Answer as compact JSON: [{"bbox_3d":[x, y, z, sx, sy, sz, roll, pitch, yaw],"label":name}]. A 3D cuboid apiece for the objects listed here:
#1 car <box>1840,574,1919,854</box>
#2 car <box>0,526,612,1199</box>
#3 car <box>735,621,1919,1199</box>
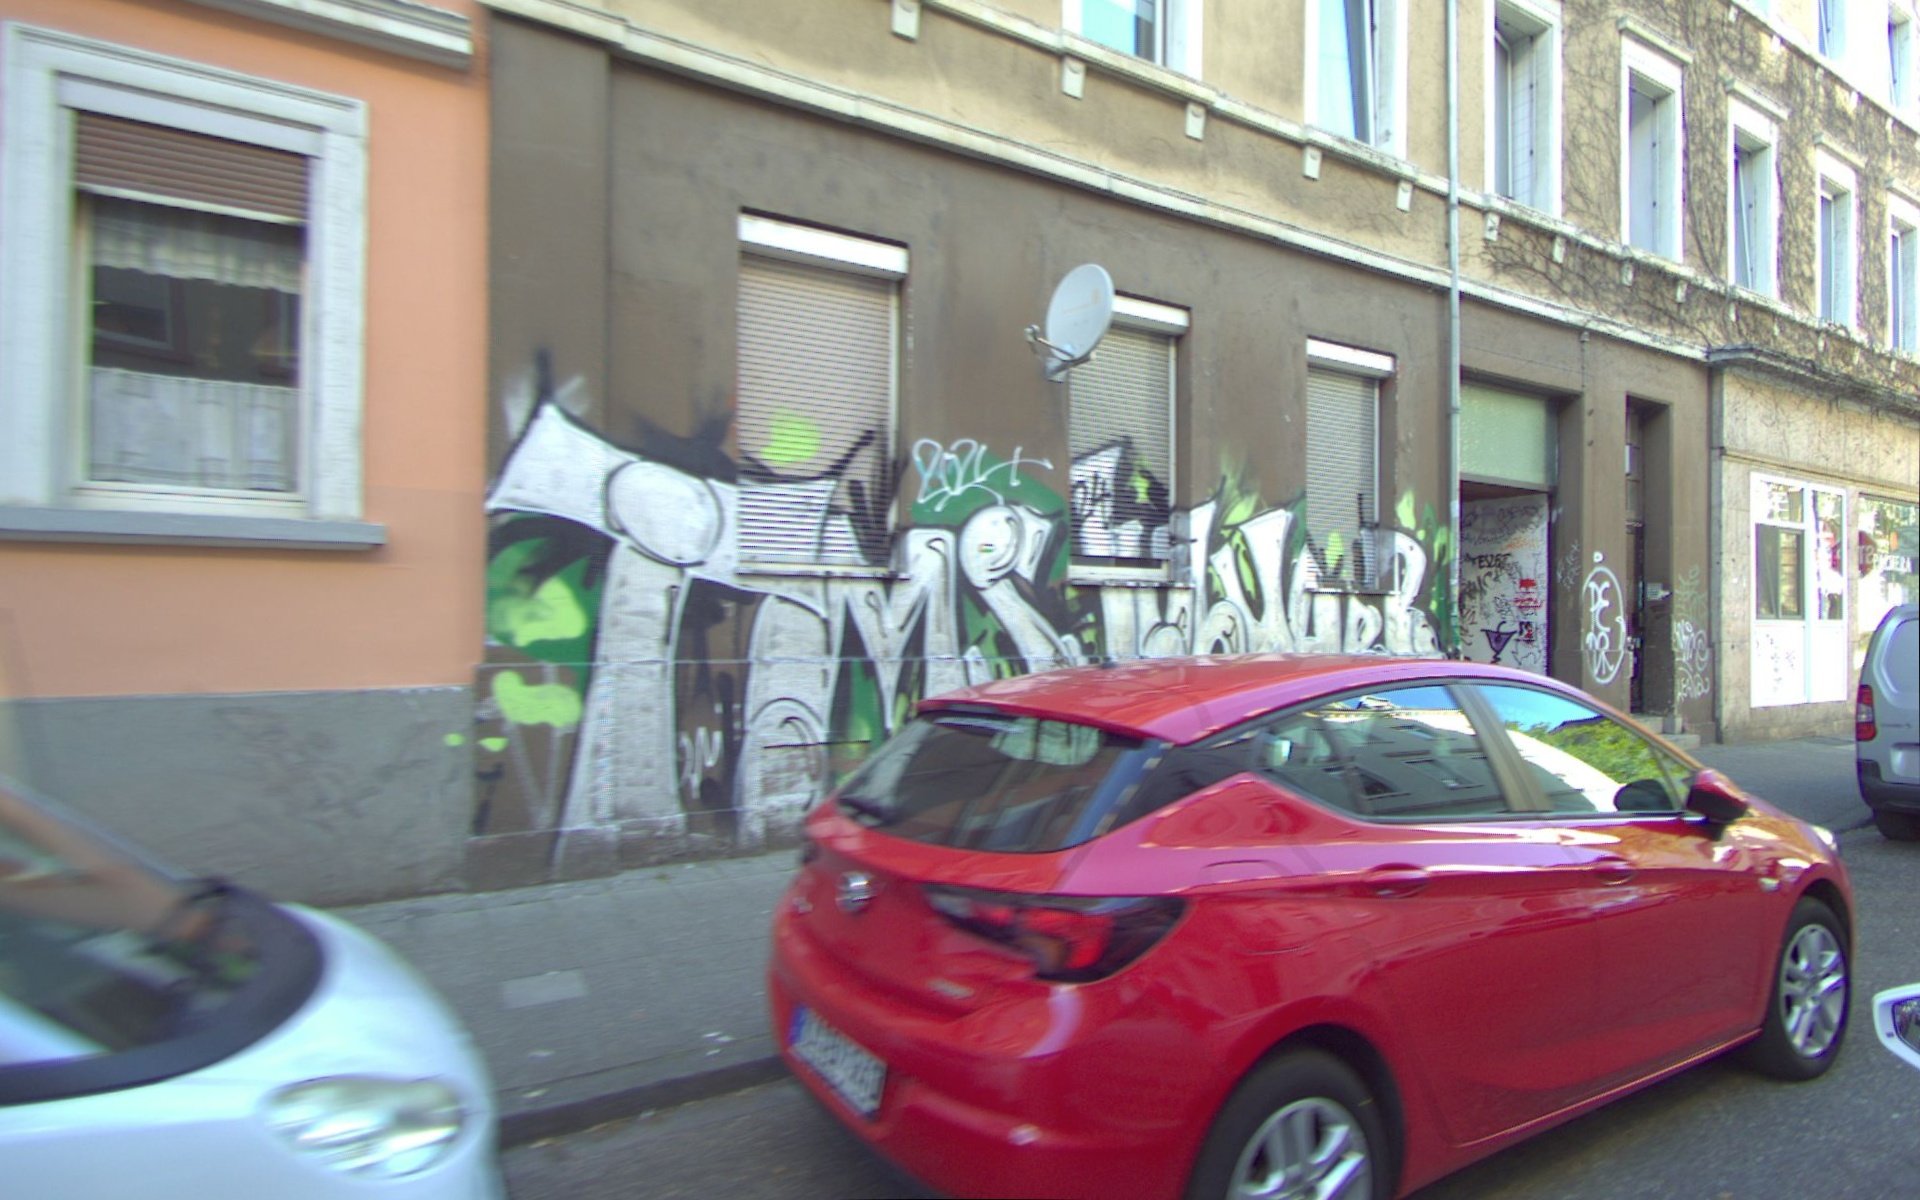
[{"bbox_3d":[8.810,0.799,7.730,4.466,1.934,1.672,1,-4,-31],"label":"car"},{"bbox_3d":[-2.170,0.718,1.305,2.930,1.569,1.669,1,-2,-34],"label":"car"},{"bbox_3d":[1.494,0.863,3.491,4.156,1.492,1.670,1,-3,-32],"label":"car"}]
